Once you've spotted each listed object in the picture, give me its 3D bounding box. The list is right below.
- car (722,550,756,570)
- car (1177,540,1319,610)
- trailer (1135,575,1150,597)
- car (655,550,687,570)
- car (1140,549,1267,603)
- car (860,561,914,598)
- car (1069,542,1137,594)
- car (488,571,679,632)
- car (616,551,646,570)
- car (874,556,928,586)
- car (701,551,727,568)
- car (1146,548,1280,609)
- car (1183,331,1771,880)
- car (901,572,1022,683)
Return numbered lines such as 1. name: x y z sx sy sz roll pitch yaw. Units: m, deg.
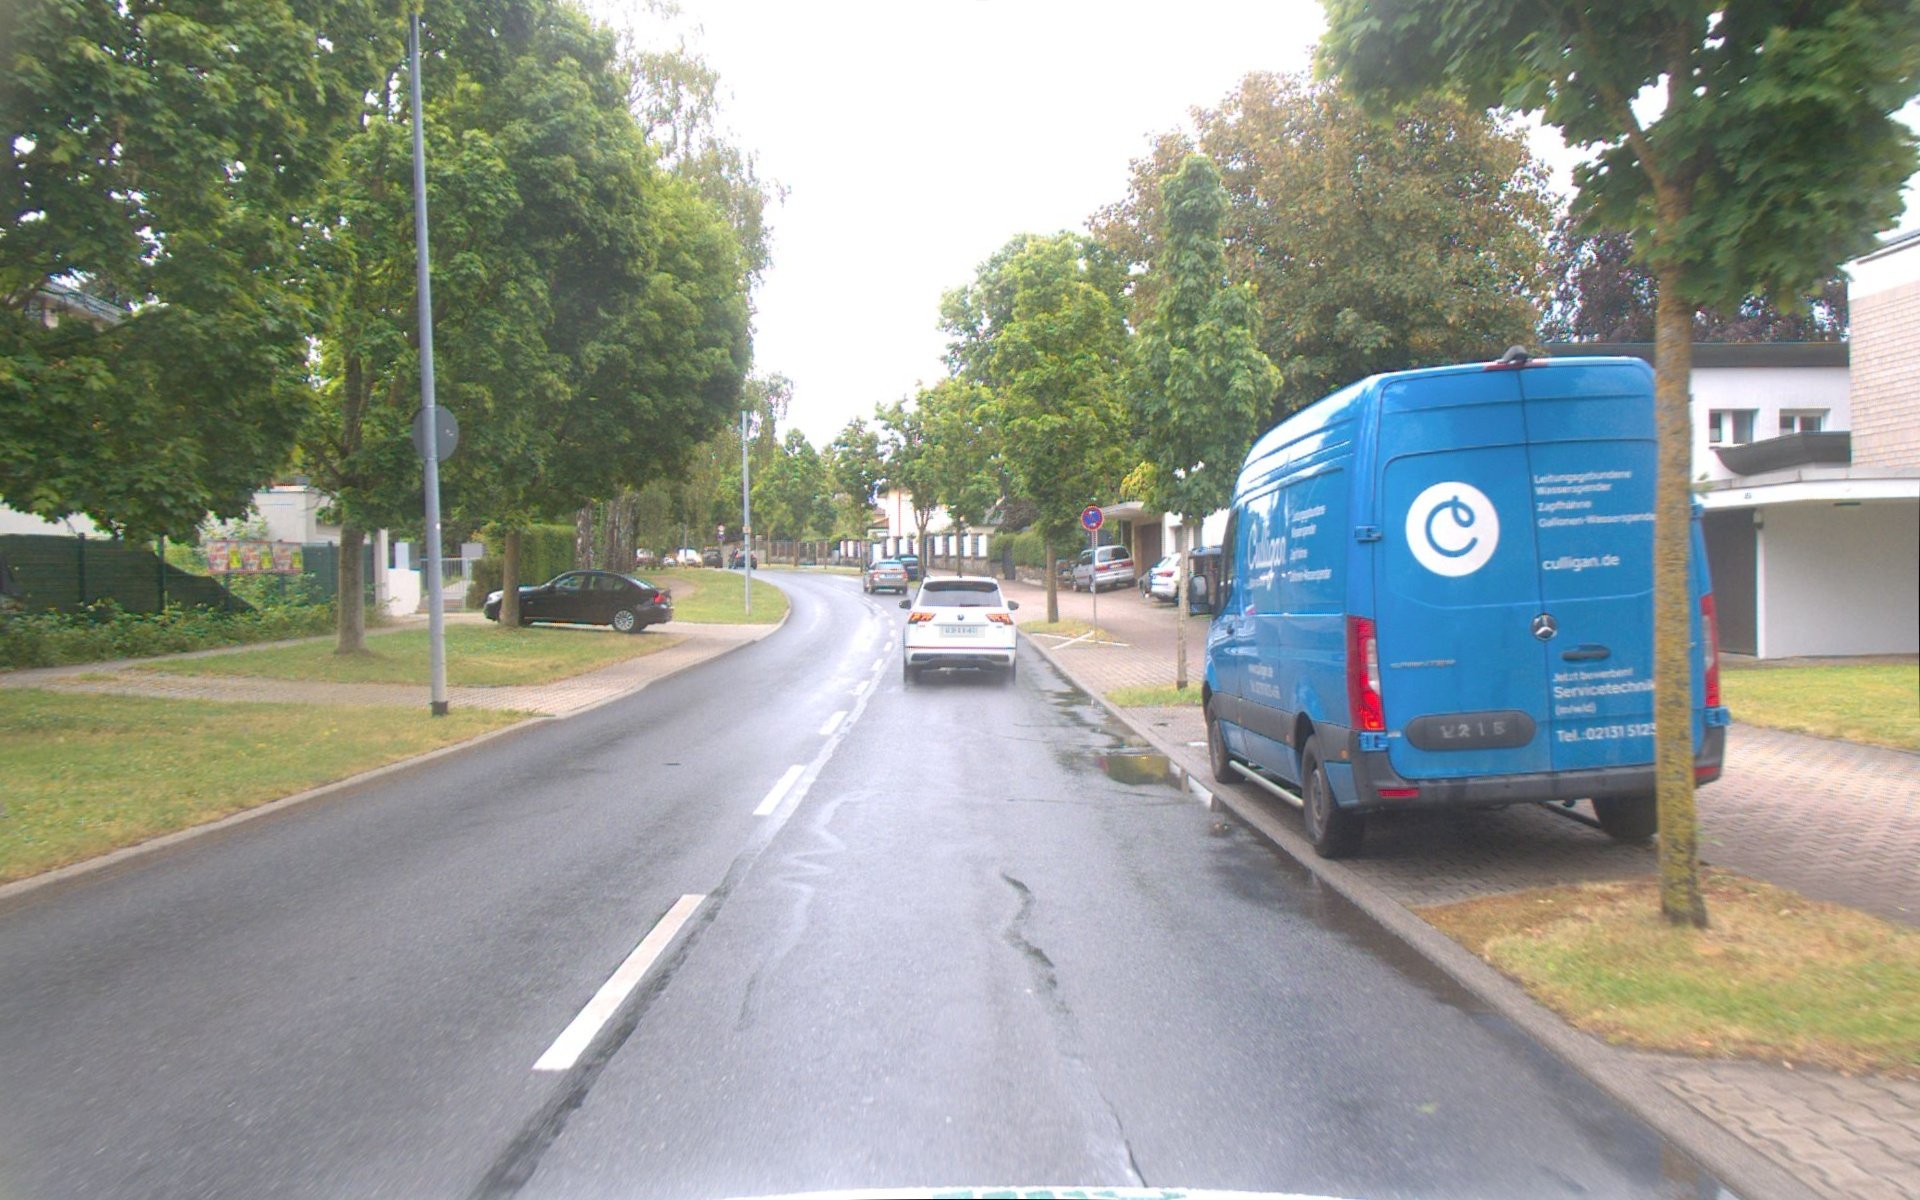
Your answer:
1. car: -16.638 -3.001 124.321 1.620 1.452 3.973 0 2 -23
2. car: 8.771 -0.776 50.526 3.909 2.048 1.828 1 3 -5
3. trailer: 6.520 -0.505 59.125 0.409 0.770 1.367 1 0 0
4. car: -22.620 -3.138 129.418 1.741 1.452 3.977 0 2 -20
5. car: 8.185 -0.827 55.831 3.909 1.738 1.828 1 3 -5
6. car: -3.250 -0.878 72.764 1.738 1.578 3.988 -1 0 -12
7. car: 5.701 -1.317 66.496 1.790 1.732 3.996 -9 3 -6
8. car: -8.968 0.017 39.611 4.130 1.386 1.691 1 0 3
9. car: -26.523 -3.185 133.178 1.741 1.452 3.977 0 2 -20
10. car: -3.045 -1.502 84.914 1.618 1.452 3.977 0 2 -20
11. car: -20.975 -3.474 140.989 1.617 1.452 3.981 0 2 -18
12. car: 8.054 -0.711 52.857 3.909 1.843 1.828 1 3 -5
13. car: 2.952 -0.005 11.025 1.953 2.631 5.632 -3 1 -1
14. car: -0.007 0.400 27.226 1.827 1.679 3.999 -1 1 -1
